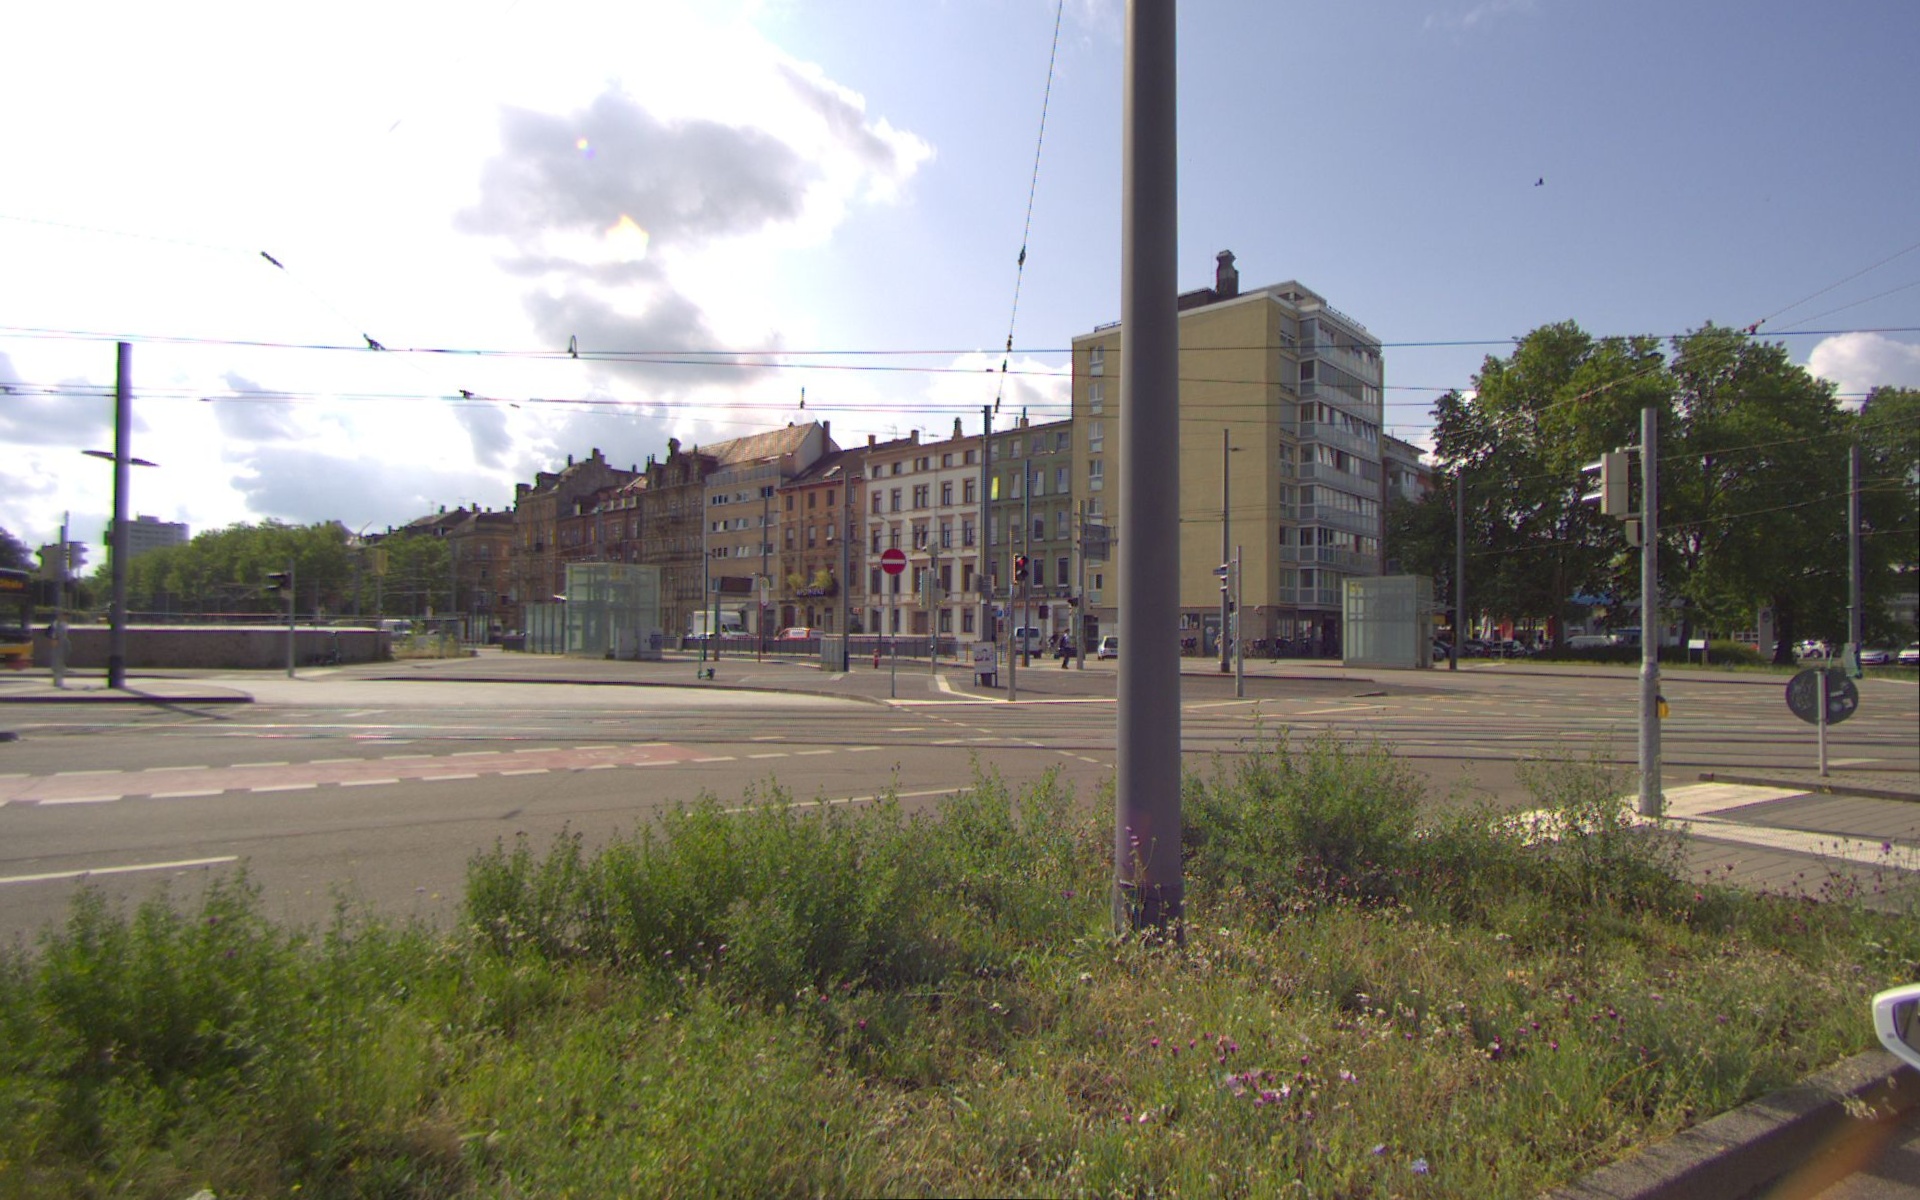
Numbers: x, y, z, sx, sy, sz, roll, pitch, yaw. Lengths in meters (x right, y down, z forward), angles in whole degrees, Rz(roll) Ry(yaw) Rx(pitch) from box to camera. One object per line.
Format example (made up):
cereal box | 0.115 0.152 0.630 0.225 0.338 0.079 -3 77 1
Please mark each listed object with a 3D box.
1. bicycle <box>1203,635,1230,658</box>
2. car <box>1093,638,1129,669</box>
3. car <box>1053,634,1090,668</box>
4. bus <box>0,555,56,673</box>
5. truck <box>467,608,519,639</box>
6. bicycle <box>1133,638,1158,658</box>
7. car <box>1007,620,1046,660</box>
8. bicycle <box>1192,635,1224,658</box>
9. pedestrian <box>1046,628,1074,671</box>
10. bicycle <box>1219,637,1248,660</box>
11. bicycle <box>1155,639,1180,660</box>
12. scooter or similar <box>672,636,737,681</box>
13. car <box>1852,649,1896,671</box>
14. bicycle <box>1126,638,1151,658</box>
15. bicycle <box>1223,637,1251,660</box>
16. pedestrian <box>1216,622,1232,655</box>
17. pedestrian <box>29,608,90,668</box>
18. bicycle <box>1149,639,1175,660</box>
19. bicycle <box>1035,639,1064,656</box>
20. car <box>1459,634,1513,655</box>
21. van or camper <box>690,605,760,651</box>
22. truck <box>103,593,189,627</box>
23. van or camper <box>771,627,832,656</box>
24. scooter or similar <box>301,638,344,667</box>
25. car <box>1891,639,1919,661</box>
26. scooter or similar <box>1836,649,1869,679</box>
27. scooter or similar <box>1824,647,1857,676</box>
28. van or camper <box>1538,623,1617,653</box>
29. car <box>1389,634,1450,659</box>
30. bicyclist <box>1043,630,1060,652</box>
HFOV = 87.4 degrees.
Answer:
bicycle | 16.636 3.010 65.137 0.484 1.289 1.625 4 2 -42
car | 9.084 3.211 60.593 1.685 1.460 3.512 3 3 3
car | 6.896 3.116 62.437 1.853 1.488 5.063 3 4 2
bus | -26.822 0.305 24.425 6.963 2.871 2.700 1 -2 -3
truck | -54.177 2.669 116.489 7.197 3.330 3.160 1 1 45
bicycle | 12.693 3.281 68.777 0.484 1.217 1.625 4 2 -42
car | 4.274 2.549 65.387 2.039 2.113 4.897 2 2 -1
bicycle | 16.038 2.996 64.949 1.859 1.289 0.486 6 6 35
pedestrian | 4.266 2.087 42.786 0.783 1.696 0.840 6 6 41
bicycle | 17.355 3.079 63.806 0.528 1.289 1.625 4 2 -42
bicycle | 13.938 3.310 67.517 0.484 1.217 1.625 4 2 -42
scooter or similar | -7.614 1.726 29.912 1.330 1.205 1.475 1 0 -45
car | 72.426 4.717 79.563 3.965 1.595 1.978 1 0 -38
bicycle | 12.185 3.270 68.535 0.484 1.217 1.625 4 2 -42
bicycle | 17.724 3.087 64.196 0.484 1.289 1.625 4 2 -42
pedestrian | 14.331 2.097 54.537 0.770 1.783 0.995 0 -1 19
pedestrian | -27.981 1.171 31.225 1.077 1.712 0.928 3 4 -5
bicycle | 13.504 3.312 67.164 0.545 1.217 1.625 4 2 -42
bicycle | 6.273 3.330 70.187 1.964 1.142 0.785 -1 -2 43
car | 42.907 3.610 81.936 1.654 1.615 3.574 2 -2 -43
van or camper | -21.576 2.476 91.924 2.703 3.376 7.536 -2 6 -45
truck | -94.497 1.221 116.727 2.432 3.696 7.422 0 -2 37
van or camper | -11.731 3.028 74.042 4.454 1.940 2.006 1 0 40
scooter or similar | -22.145 1.802 34.921 0.464 0.962 1.663 1 -2 -1
car | 73.395 3.809 77.065 3.959 1.625 2.055 2 -2 -34
scooter or similar | 38.098 2.739 42.876 0.911 1.173 0.381 2 4 4
scooter or similar | 38.087 2.667 43.465 0.911 1.173 0.381 3 4 16
van or camper | 57.024 3.444 92.882 2.361 2.502 5.858 1 0 -25
car | 32.529 3.248 71.114 3.523 1.550 1.989 1 0 43
bicyclist | 6.389 2.840 70.111 0.822 1.517 0.785 -1 -2 42
